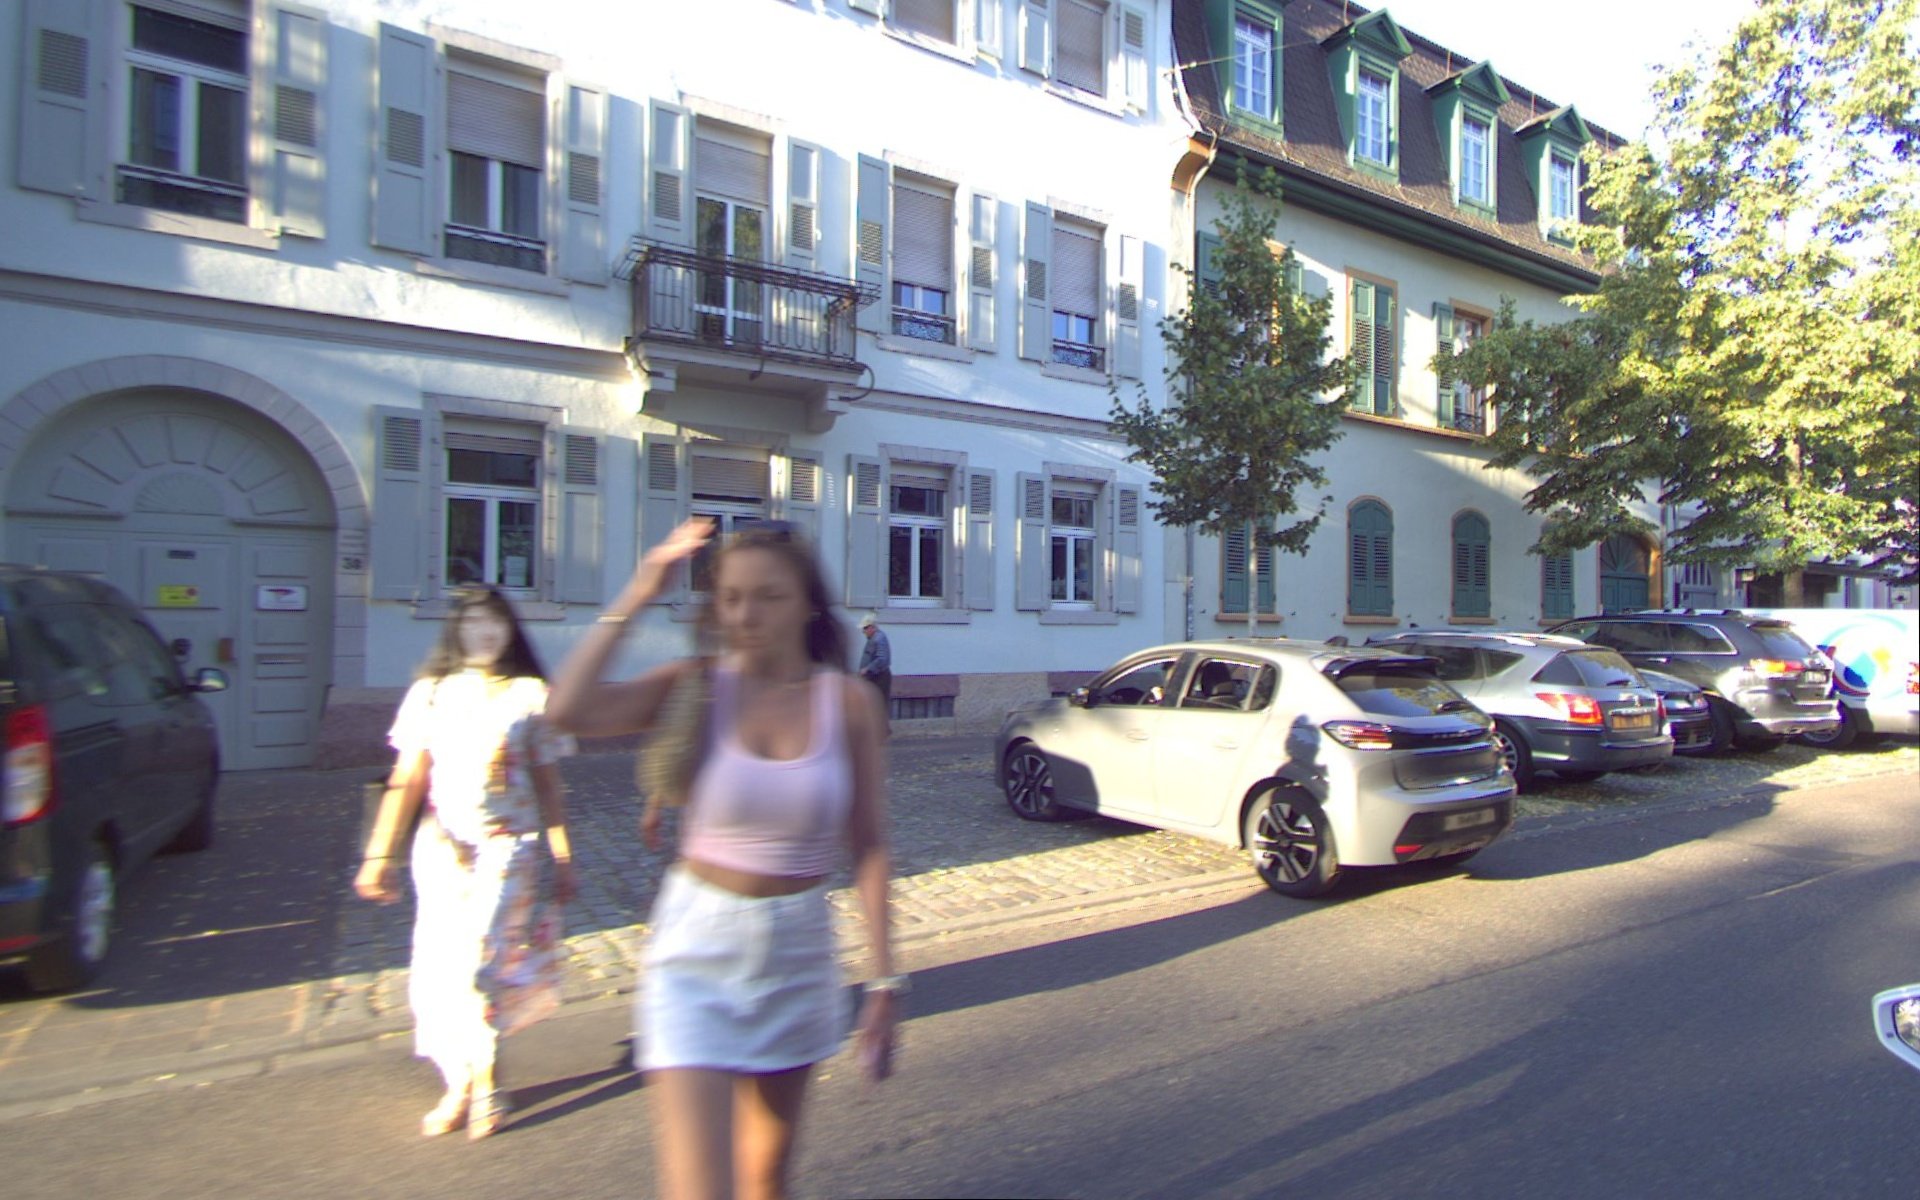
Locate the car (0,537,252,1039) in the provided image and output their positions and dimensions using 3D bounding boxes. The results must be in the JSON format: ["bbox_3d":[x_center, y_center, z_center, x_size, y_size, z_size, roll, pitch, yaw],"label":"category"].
[{"bbox_3d":[-5.044,0.708,5.168,1.784,1.830,4.121,1,-1,-29],"label":"car"}]

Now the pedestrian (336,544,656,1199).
[{"bbox_3d":[-1.426,0.739,3.074,0.753,1.717,0.917,1,-2,-30],"label":"pedestrian"}]

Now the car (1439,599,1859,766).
[{"bbox_3d":[9.138,0.984,13.772,1.871,1.895,4.408,1,-1,-30],"label":"car"}]

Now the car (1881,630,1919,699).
[{"bbox_3d":[23.078,1.479,21.778,1.824,1.521,4.297,1,0,-35],"label":"car"}]

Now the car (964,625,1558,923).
[{"bbox_3d":[1.812,0.941,7.268,1.667,1.480,4.035,1,-1,-33],"label":"car"}]

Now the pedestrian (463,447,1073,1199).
[{"bbox_3d":[-0.377,0.666,1.745,0.818,1.660,0.823,1,-2,-30],"label":"pedestrian"}]

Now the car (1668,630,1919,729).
[{"bbox_3d":[15.498,1.336,17.873,1.712,1.505,4.459,1,-1,-28],"label":"car"}]

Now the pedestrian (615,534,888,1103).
[{"bbox_3d":[-0.803,0.705,3.754,0.753,1.782,0.917,1,-2,-30],"label":"pedestrian"}]

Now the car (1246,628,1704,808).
[{"bbox_3d":[5.280,1.076,10.840,1.940,1.503,4.018,1,-1,-31],"label":"car"}]

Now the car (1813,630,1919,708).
[{"bbox_3d":[20.270,1.433,20.540,1.881,1.521,3.907,1,-1,-28],"label":"car"}]

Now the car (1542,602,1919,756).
[{"bbox_3d":[11.762,1.045,15.176,1.951,1.933,4.847,1,-1,-30],"label":"car"}]

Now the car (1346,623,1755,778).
[{"bbox_3d":[7.106,1.085,12.554,1.940,1.576,4.022,1,-1,-28],"label":"car"}]

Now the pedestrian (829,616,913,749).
[{"bbox_3d":[-1.092,0.977,12.275,0.787,1.542,0.692,1,0,-32],"label":"pedestrian"}]

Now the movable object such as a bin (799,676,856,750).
[{"bbox_3d":[-1.568,1.323,11.898,0.527,0.808,0.445,1,0,-32],"label":"movable object such as a bin"}]
